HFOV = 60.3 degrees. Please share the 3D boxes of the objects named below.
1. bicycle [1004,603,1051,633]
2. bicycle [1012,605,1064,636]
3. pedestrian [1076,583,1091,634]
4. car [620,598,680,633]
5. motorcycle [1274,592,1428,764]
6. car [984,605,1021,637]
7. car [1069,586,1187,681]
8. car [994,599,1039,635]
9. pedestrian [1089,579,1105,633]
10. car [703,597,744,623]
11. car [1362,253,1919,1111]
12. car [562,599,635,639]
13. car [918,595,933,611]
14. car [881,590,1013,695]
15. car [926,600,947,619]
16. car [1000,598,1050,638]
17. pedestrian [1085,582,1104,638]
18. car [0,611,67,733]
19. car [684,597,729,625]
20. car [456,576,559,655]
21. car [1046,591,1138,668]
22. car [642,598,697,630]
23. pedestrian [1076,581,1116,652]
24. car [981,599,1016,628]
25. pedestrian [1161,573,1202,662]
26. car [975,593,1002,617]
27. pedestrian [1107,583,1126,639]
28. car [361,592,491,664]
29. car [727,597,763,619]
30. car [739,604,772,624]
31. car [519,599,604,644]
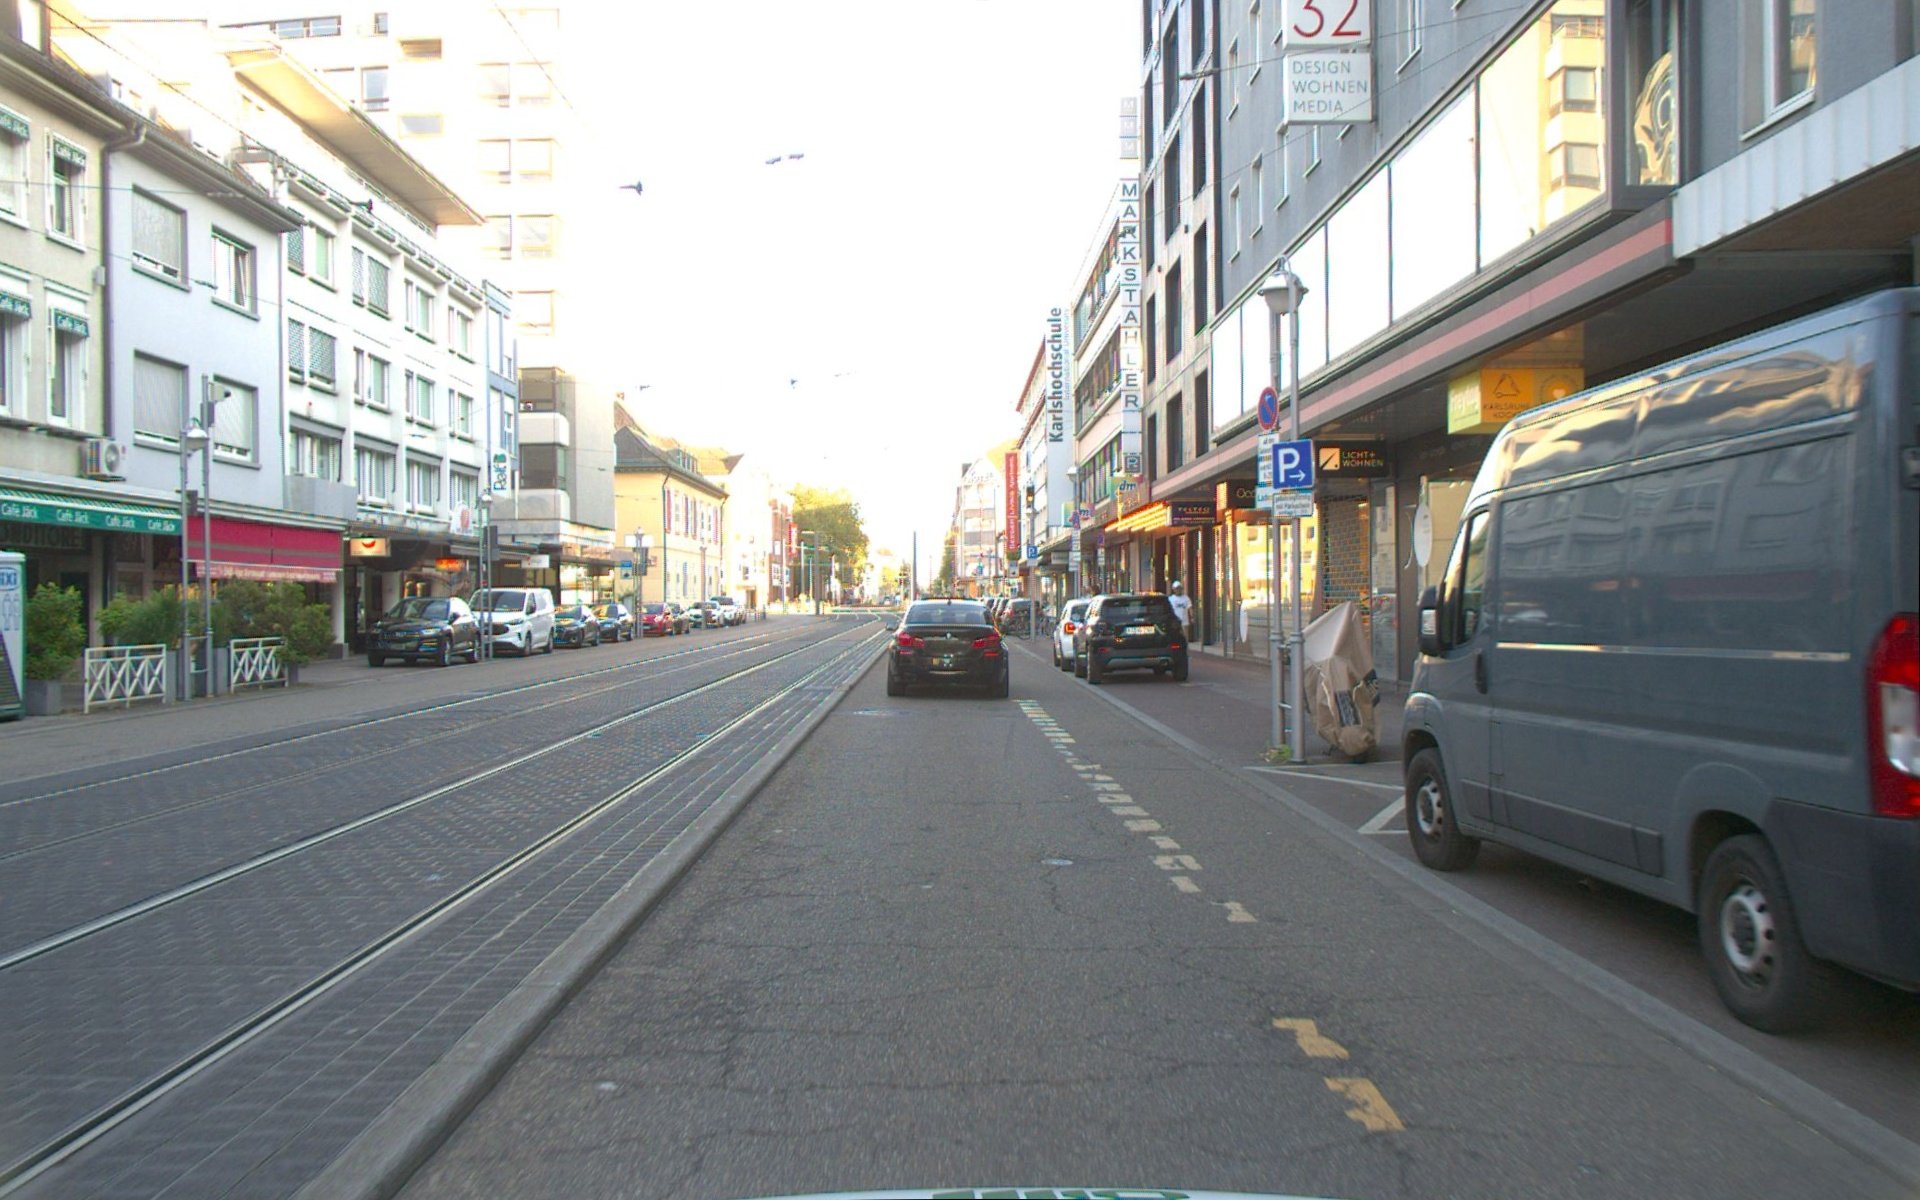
[{"bbox_3d":[2.629,0.702,64.755,1.823,1.139,0.468,0,-1,0],"label":"bicycle"},{"bbox_3d":[2.789,0.744,59.025,1.823,1.099,0.468,0,-1,0],"label":"bicycle"},{"bbox_3d":[4.239,0.274,56.850,0.465,1.729,0.752,-1,0,3],"label":"pedestrian"},{"bbox_3d":[-13.705,0.668,73.375,1.889,1.460,4.245,0,0,-1],"label":"car"},{"bbox_3d":[3.594,0.678,15.425,0.827,1.443,2.164,-3,0,-1],"label":"motorcycle"},{"bbox_3d":[2.160,1.066,84.066,1.738,1.576,3.502,0,-1,-1],"label":"car"},{"bbox_3d":[2.988,0.566,30.044,1.621,1.564,3.885,-2,0,-1],"label":"car"},{"bbox_3d":[2.523,0.780,74.889,1.864,1.576,3.779,0,-1,-1],"label":"car"},{"bbox_3d":[4.715,0.210,56.831,0.478,1.821,0.760,-1,0,3],"label":"pedestrian"},{"bbox_3d":[-13.958,0.573,97.861,1.889,1.460,4.245,0,0,-1],"label":"car"},{"bbox_3d":[3.636,0.188,7.564,1.992,2.498,5.407,-2,0,-2],"label":"car"},{"bbox_3d":[-13.801,0.686,63.387,1.889,1.460,4.245,0,0,-1],"label":"car"},{"bbox_3d":[-4.613,0.387,220.486,1.953,1.870,3.998,0,-3,-1],"label":"car"},{"bbox_3d":[-0.167,0.630,26.363,1.913,1.524,4.465,0,0,1],"label":"car"},{"bbox_3d":[-1.921,0.788,135.757,1.738,1.576,3.502,0,-1,-1],"label":"car"},{"bbox_3d":[2.645,0.744,68.149,1.864,1.576,3.999,0,-1,-1],"label":"car"},{"bbox_3d":[4.448,0.325,54.807,0.542,1.823,0.759,-1,0,-1],"label":"pedestrian"},{"bbox_3d":[-12.737,0.904,19.572,1.953,1.478,4.330,-1,0,0],"label":"car"},{"bbox_3d":[-14.026,0.608,91.780,1.889,1.460,4.245,-1,0,-1],"label":"car"},{"bbox_3d":[-13.341,0.428,49.026,1.954,2.194,4.907,-1,0,-3],"label":"car"},{"bbox_3d":[2.765,0.586,35.264,1.528,1.467,3.708,-3,0,-1],"label":"car"},{"bbox_3d":[-13.748,0.658,78.382,1.889,1.460,4.245,0,0,-1],"label":"car"},{"bbox_3d":[3.238,0.389,39.331,0.553,1.676,0.749,-1,0,-39],"label":"pedestrian"},{"bbox_3d":[2.061,0.729,89.718,1.738,1.576,3.502,0,-1,-1],"label":"car"},{"bbox_3d":[4.551,0.359,34.049,0.674,1.771,0.821,-2,0,0],"label":"pedestrian"},{"bbox_3d":[1.891,0.335,111.126,1.738,1.576,3.502,0,-1,-1],"label":"car"},{"bbox_3d":[5.154,0.345,54.488,0.497,1.824,0.760,-1,0,-1],"label":"pedestrian"},{"bbox_3d":[-13.271,0.654,41.383,1.822,1.707,4.463,0,0,-1],"label":"car"},{"bbox_3d":[-14.550,0.546,112.200,1.889,1.460,4.245,0,0,-1],"label":"car"},{"bbox_3d":[-14.909,1.004,120.774,1.889,1.460,4.245,0,0,-1],"label":"car"},{"bbox_3d":[-13.541,0.704,56.463,1.889,1.460,4.245,0,0,-1],"label":"car"}]
